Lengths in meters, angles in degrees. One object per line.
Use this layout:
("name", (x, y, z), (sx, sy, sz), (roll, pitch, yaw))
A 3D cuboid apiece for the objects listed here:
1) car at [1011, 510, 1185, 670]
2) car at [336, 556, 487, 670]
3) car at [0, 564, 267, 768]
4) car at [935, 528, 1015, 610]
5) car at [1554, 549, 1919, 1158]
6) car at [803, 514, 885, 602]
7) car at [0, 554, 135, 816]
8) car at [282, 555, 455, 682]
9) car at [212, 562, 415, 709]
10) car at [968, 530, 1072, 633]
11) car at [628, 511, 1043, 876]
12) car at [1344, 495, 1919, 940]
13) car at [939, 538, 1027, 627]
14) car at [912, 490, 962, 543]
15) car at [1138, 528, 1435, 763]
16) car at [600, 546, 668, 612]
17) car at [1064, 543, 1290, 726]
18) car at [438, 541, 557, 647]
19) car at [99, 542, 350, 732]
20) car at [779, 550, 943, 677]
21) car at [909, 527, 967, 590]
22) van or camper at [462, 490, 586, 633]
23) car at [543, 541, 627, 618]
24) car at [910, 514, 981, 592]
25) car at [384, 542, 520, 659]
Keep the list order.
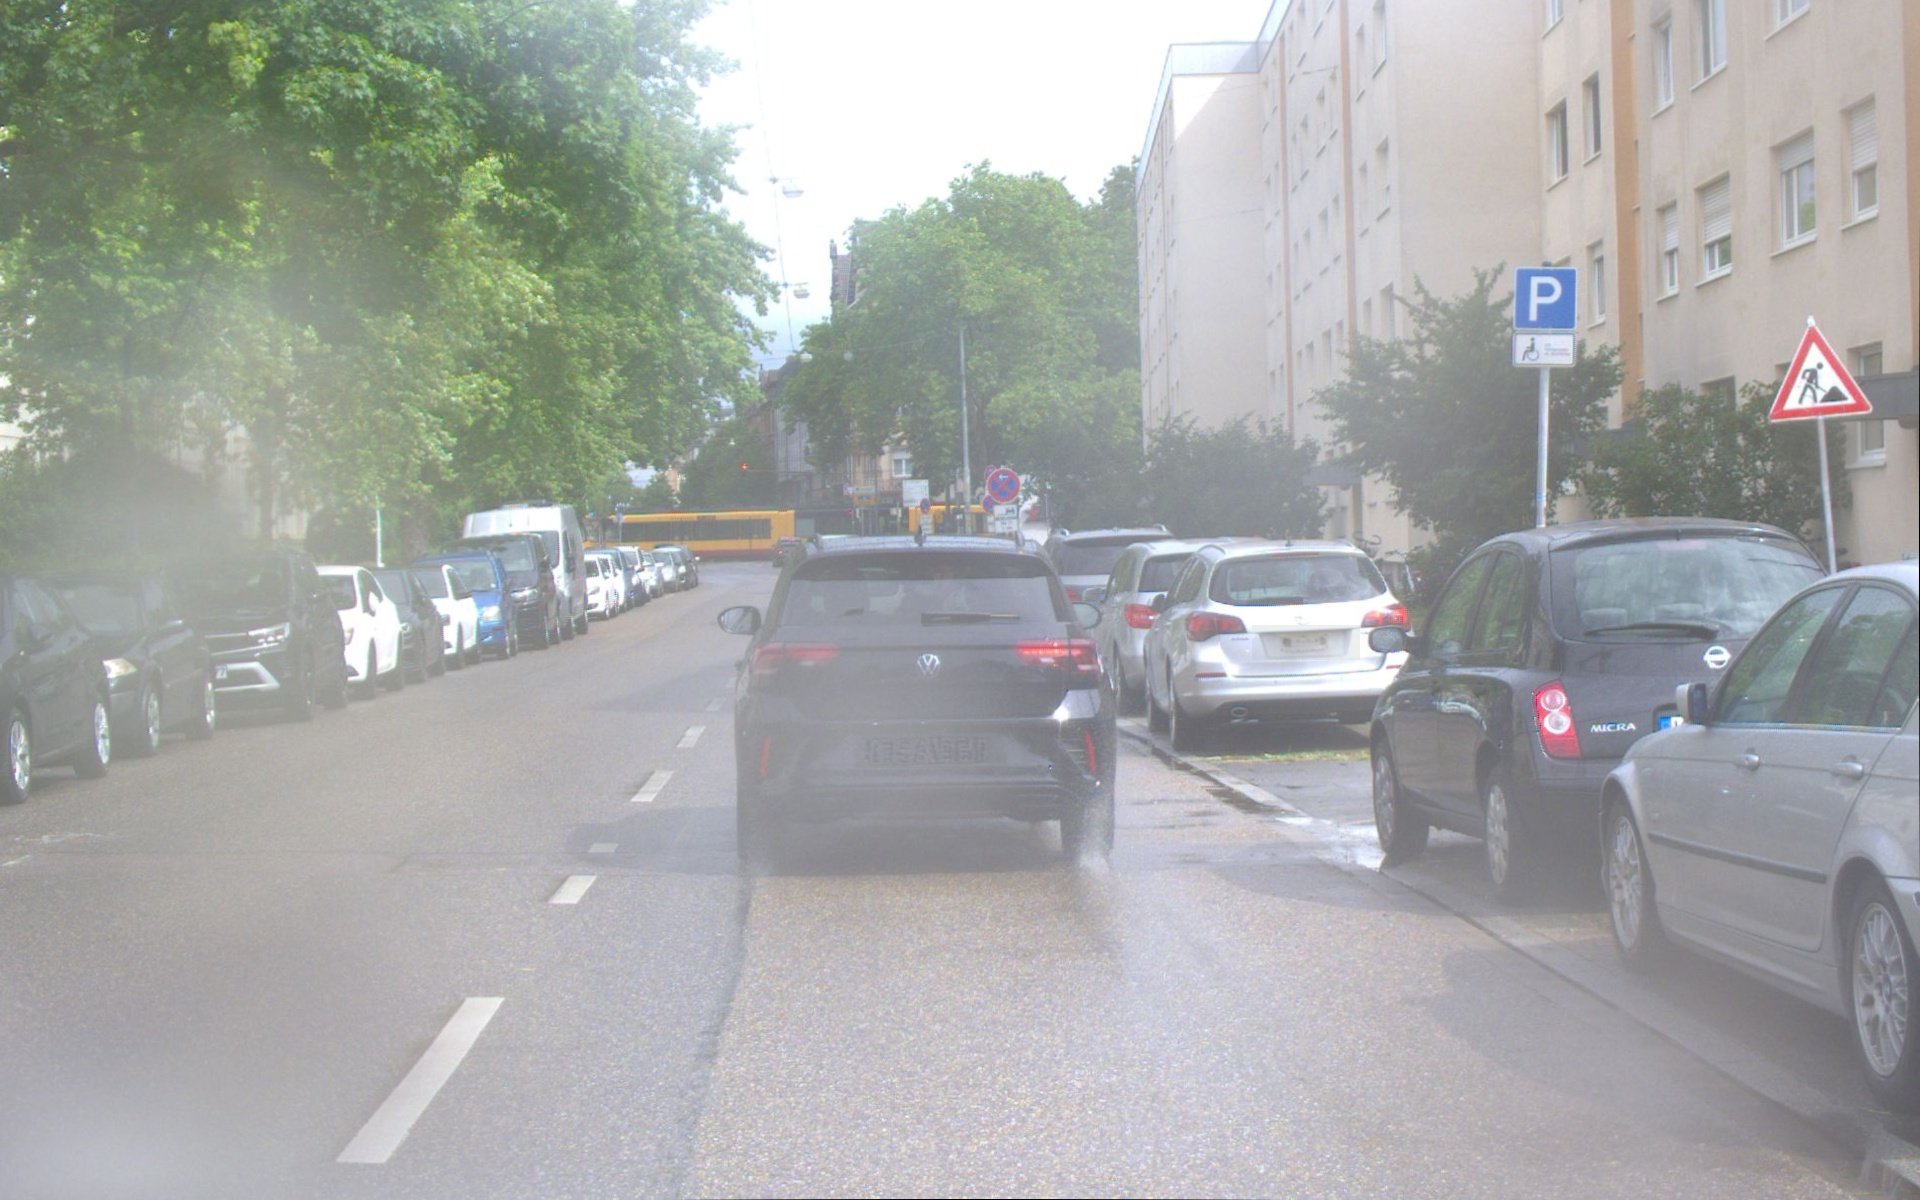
("car", (1.537, -0.141, 39.541), (1.604, 1.666, 4.033), (-3, 1, -2))
("car", (-7.539, 0.146, 47.494), (1.586, 1.413, 3.921), (-3, 1, -3))
("car", (-6.653, 0.468, 27.352), (1.586, 1.413, 4.053), (-3, 1, -3))
("car", (0.323, -0.726, 79.299), (1.604, 1.759, 4.033), (-3, 1, -2))
("car", (3.053, 0.579, 9.958), (1.716, 1.447, 4.260), (0, 1, -3))
("car", (-2.814, -1.021, 84.360), (1.836, 2.095, 4.000), (0, 0, 0))
("car", (-6.457, 0.503, 21.827), (1.586, 1.500, 4.065), (-3, 1, -3))
("car", (-7.261, 0.192, 42.492), (1.586, 1.413, 3.921), (-3, 1, -3))
("car", (-6.940, 0.343, 37.209), (1.586, 1.413, 3.921), (-3, 1, -3))
("car", (1.075, -0.367, 63.239), (1.604, 1.759, 4.033), (-3, 1, -2))
("car", (-0.517, 0.384, 17.570), (1.873, 1.640, 4.062), (0, 1, 1))
("car", (2.786, 0.385, 14.828), (1.604, 1.656, 4.033), (0, 1, -3))
("car", (0.458, -0.399, 72.722), (1.604, 1.759, 4.033), (-3, 1, -2))
("car", (-0.835, -2.992, 123.666), (1.665, 1.831, 4.000), (-2, 1, -1))
("car", (2.349, 0.278, 25.666), (1.695, 1.533, 4.032), (-3, 1, -1))
("car", (-8.688, -0.574, 91.865), (1.586, 1.634, 3.921), (-3, 1, -3))
("car", (1.930, 0.267, 31.622), (1.604, 1.500, 4.033), (-3, 1, -2))
("car", (-7.718, -0.128, 57.673), (1.586, 1.634, 3.921), (-3, 1, -3))
("car", (-6.743, 0.288, 31.879), (1.586, 1.570, 4.015), (-3, 1, -3))
("car", (-1.192, 0.158, 42.964), (1.813, 1.498, 4.000), (0, 0, 2))
("car", (-0.674, -1.281, 105.358), (1.665, 1.831, 4.000), (-2, 1, -1))
("van or camper", (-8.058, -0.728, 63.897), (1.802, 2.485, 5.021), (-3, 1, -3))
("car", (-8.465, -0.481, 77.855), (1.586, 1.634, 3.921), (-3, 1, -3))
("car", (-0.371, -1.195, 86.112), (1.665, 1.831, 4.000), (-2, 1, -1))
("car", (-7.627, -0.024, 51.905), (1.586, 1.634, 3.921), (-3, 1, -3))
